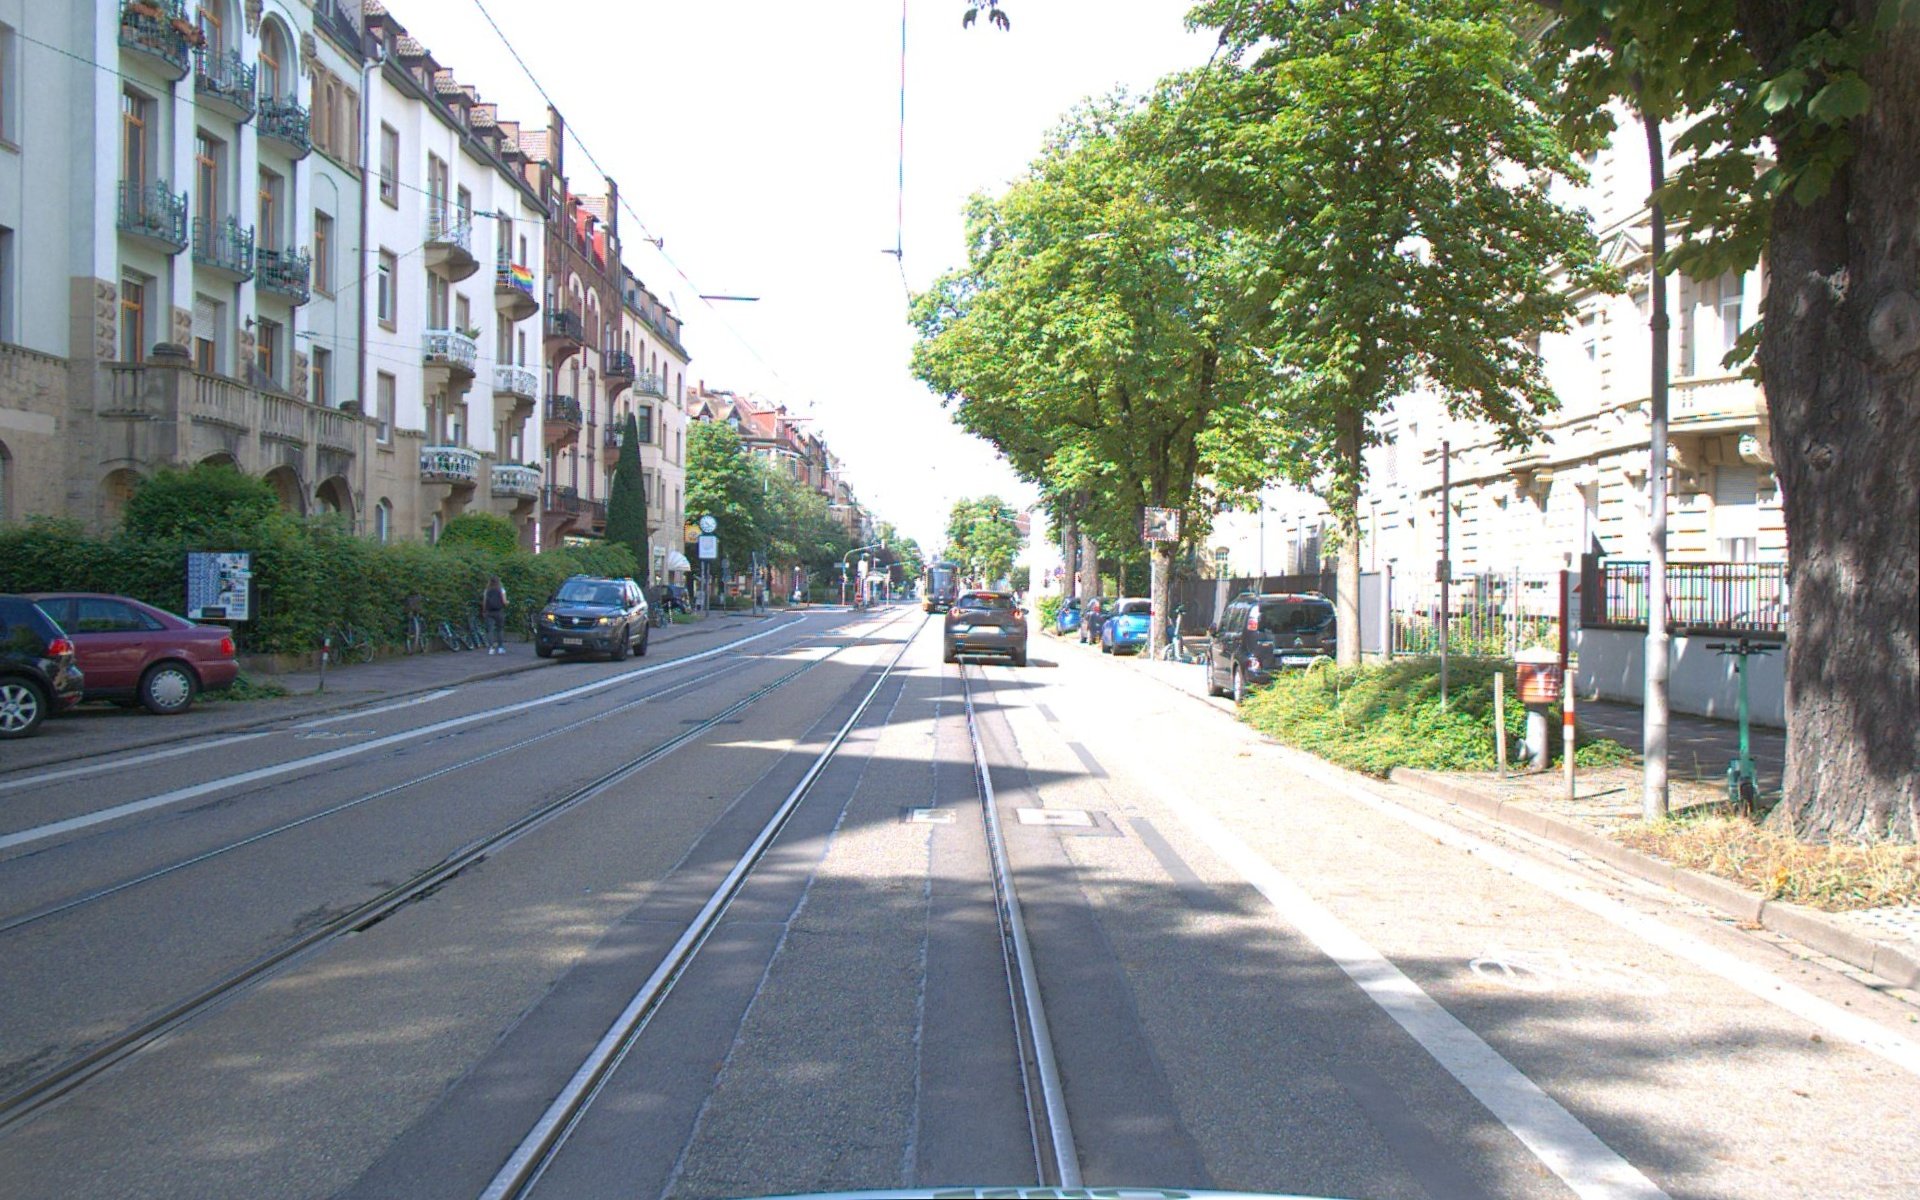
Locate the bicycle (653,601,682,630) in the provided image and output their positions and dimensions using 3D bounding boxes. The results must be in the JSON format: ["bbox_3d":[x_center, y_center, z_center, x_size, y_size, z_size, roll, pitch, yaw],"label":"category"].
[{"bbox_3d":[-10.525,0.549,59.515,0.500,0.976,1.816,3,-1,6],"label":"bicycle"}]

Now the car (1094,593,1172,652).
[{"bbox_3d":[4.646,0.578,44.799,1.607,1.522,3.625,-1,0,-2],"label":"car"}]

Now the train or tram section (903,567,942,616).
[{"bbox_3d":[-2.855,-0.604,124.475,2.599,3.589,8.490,0,0,-4],"label":"train or tram section"}]

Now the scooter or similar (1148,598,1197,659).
[{"bbox_3d":[4.862,0.640,37.864,0.436,1.322,1.170,-3,2,-31],"label":"scooter or similar"}]

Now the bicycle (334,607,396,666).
[{"bbox_3d":[-10.490,0.628,29.214,0.375,0.976,1.810,2,0,1],"label":"bicycle"}]

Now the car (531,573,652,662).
[{"bbox_3d":[-7.883,0.330,35.827,1.749,1.793,4.880,0,0,-3],"label":"car"}]

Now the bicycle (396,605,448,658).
[{"bbox_3d":[-10.506,0.595,32.339,0.375,0.976,1.810,2,0,1],"label":"bicycle"}]

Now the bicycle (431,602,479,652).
[{"bbox_3d":[-10.501,0.548,34.431,0.375,0.976,1.810,2,0,1],"label":"bicycle"}]

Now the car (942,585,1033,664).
[{"bbox_3d":[0.548,0.489,36.258,1.753,1.538,4.349,2,1,-2],"label":"car"}]

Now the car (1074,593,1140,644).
[{"bbox_3d":[4.654,0.564,52.706,1.607,1.522,3.756,-1,0,-3],"label":"car"}]

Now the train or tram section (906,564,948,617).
[{"bbox_3d":[-2.347,-0.609,115.983,2.599,3.589,8.490,0,0,-4],"label":"train or tram section"}]

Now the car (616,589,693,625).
[{"bbox_3d":[-14.218,0.325,77.117,3.169,1.539,1.679,2,0,3],"label":"car"}]

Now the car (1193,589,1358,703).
[{"bbox_3d":[4.867,0.676,26.068,1.662,1.619,4.201,-1,0,-2],"label":"car"}]

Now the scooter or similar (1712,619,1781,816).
[{"bbox_3d":[5.456,0.787,11.506,0.334,1.259,1.259,-2,0,23],"label":"scooter or similar"}]

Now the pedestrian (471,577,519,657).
[{"bbox_3d":[-9.630,0.344,34.272,0.666,1.595,0.882,2,0,1],"label":"pedestrian"}]

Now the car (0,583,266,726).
[{"bbox_3d":[-10.463,0.607,19.359,3.940,1.510,1.816,-2,0,-44],"label":"car"}]

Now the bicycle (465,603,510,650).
[{"bbox_3d":[-10.439,0.578,36.570,0.375,0.976,1.921,2,0,1],"label":"bicycle"}]

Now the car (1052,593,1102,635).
[{"bbox_3d":[4.431,0.514,63.085,1.591,1.522,3.847,-1,0,-1],"label":"car"}]

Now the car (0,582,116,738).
[{"bbox_3d":[-10.597,0.632,16.307,3.773,1.510,1.673,-2,0,-41],"label":"car"}]
